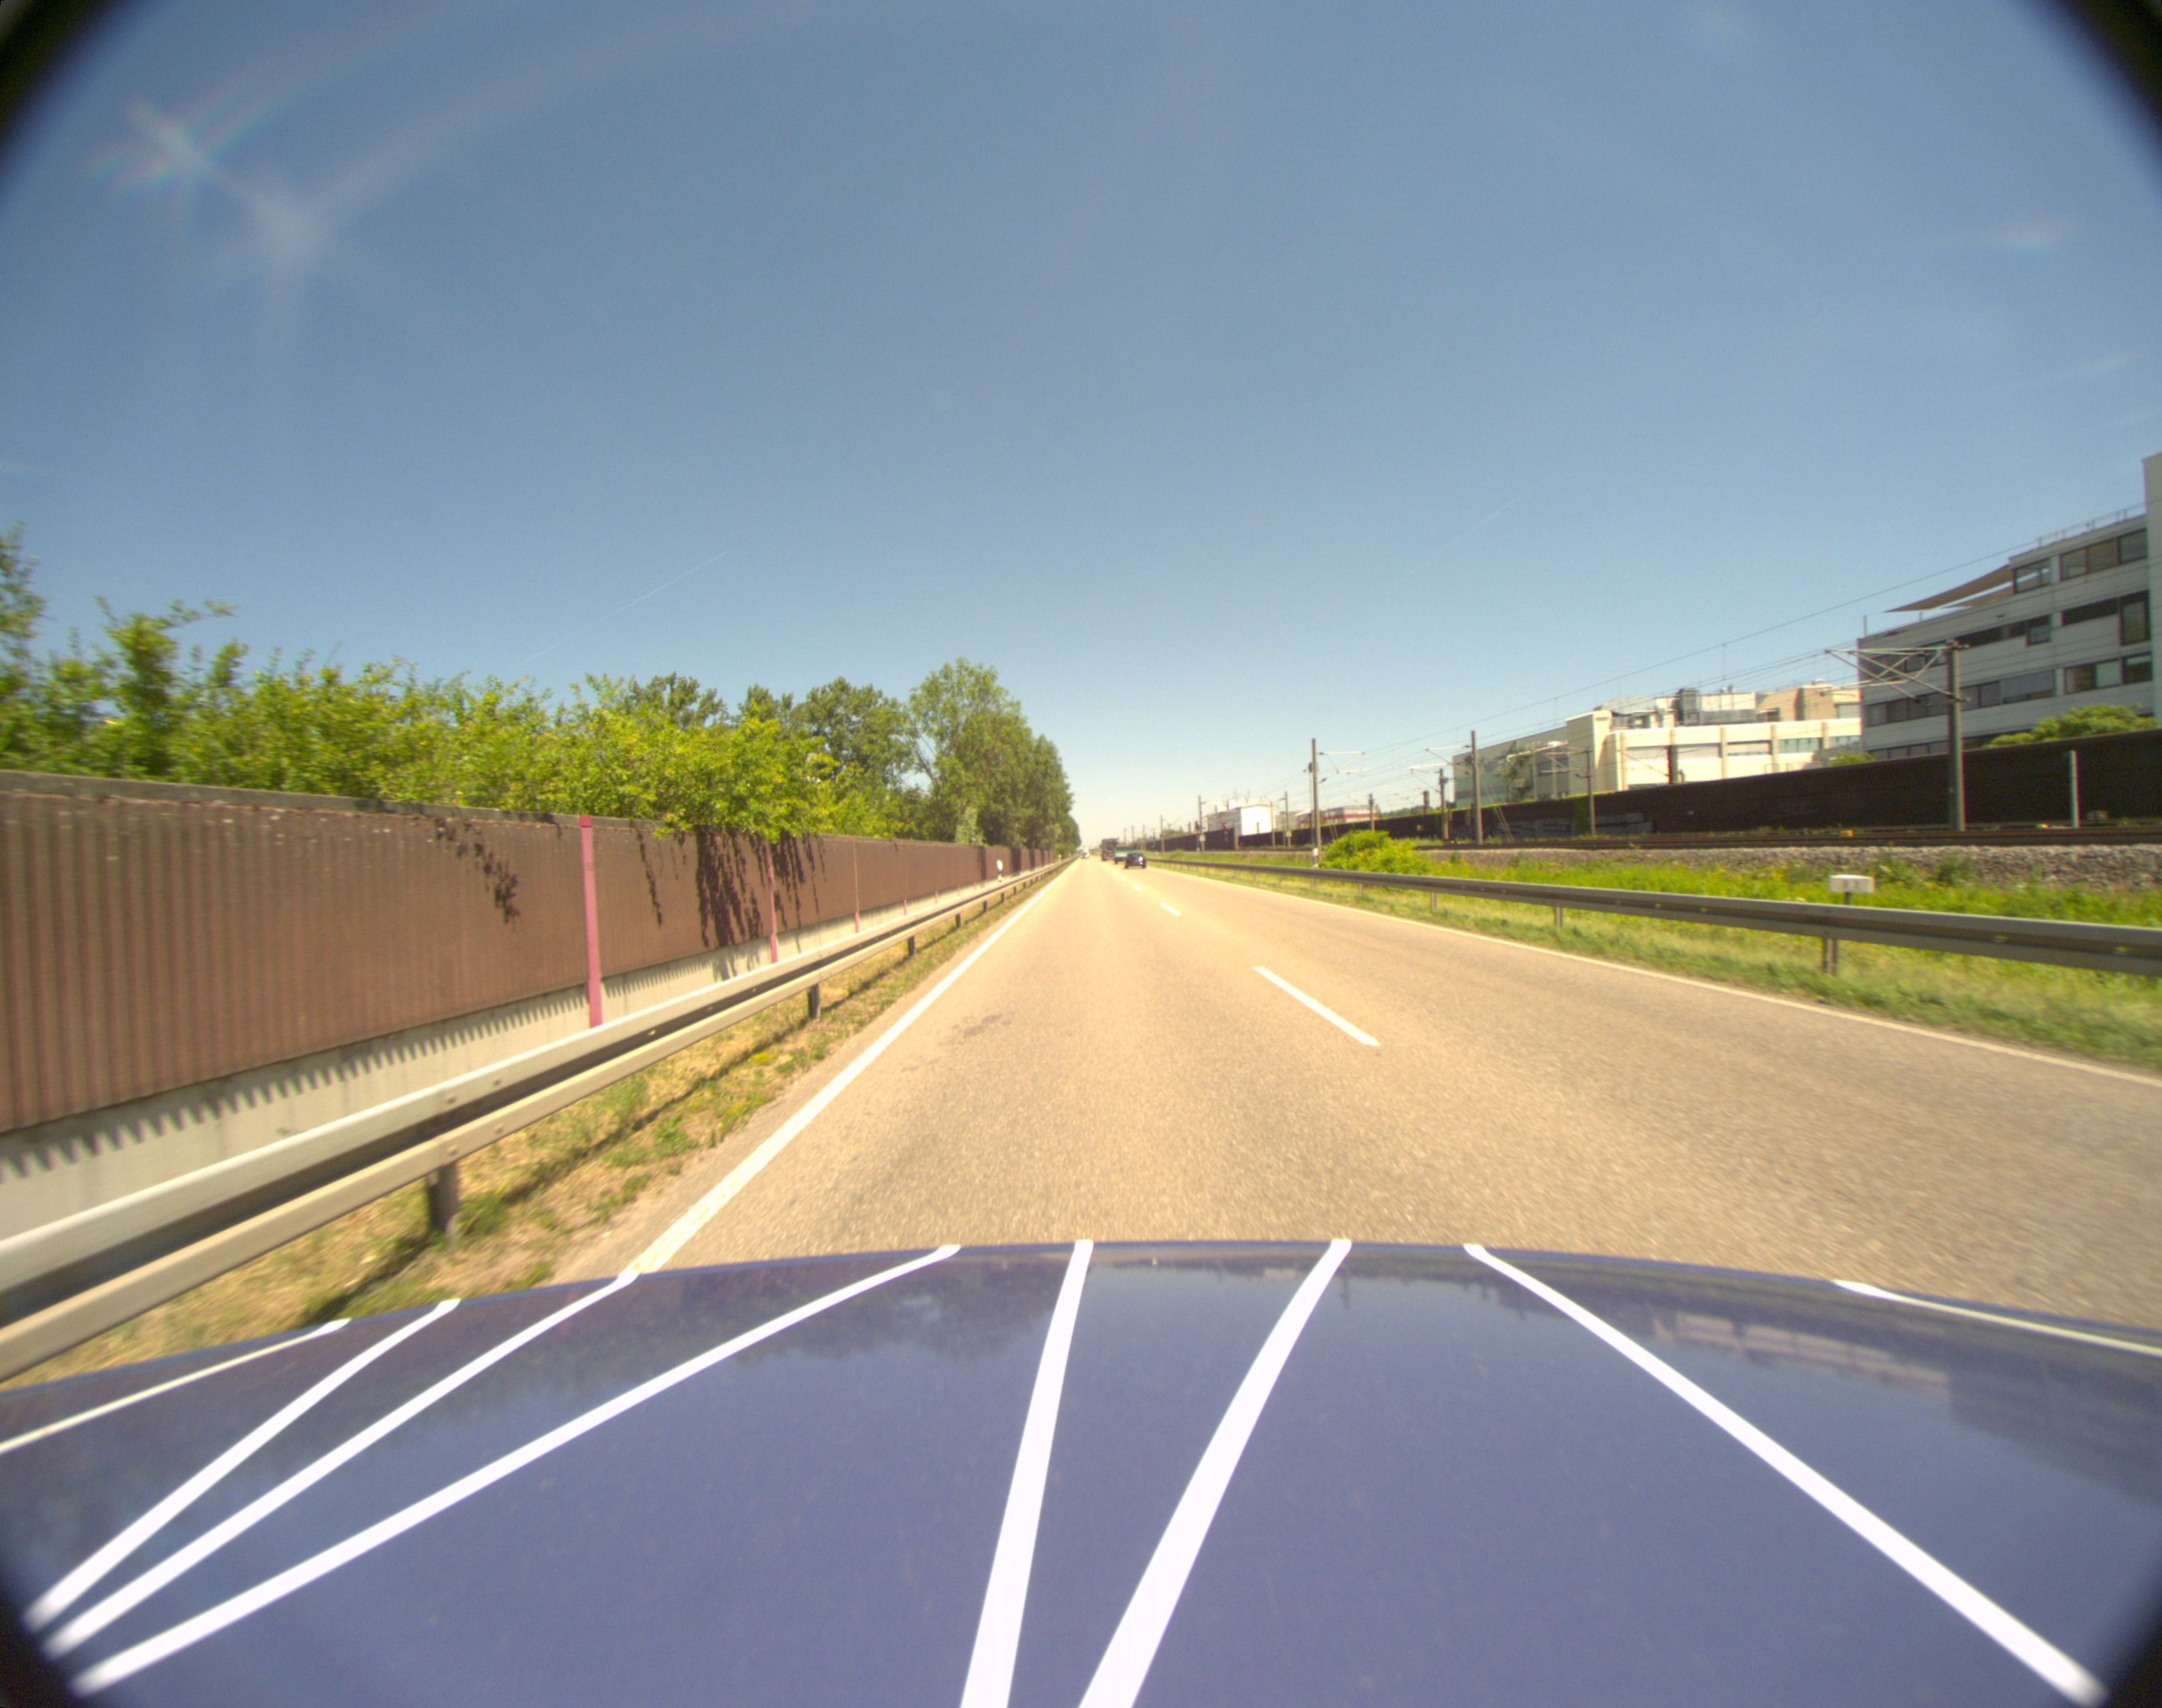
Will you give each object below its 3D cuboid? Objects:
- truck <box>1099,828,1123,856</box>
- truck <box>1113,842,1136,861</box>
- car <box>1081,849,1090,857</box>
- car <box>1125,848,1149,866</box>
[{"bbox_3d":[4.870,-1.926,126.737,3.054,4.449,10.585,-2,1,-2],"label":"truck"},{"bbox_3d":[5.287,-0.331,93.219,2.389,2.256,6.236,-2,1,1],"label":"truck"},{"bbox_3d":[1.201,-0.279,185.994,1.998,2.002,4.000,-2,1,3],"label":"car"},{"bbox_3d":[4.937,0.275,67.074,1.803,1.455,4.000,-2,1,1],"label":"car"}]
